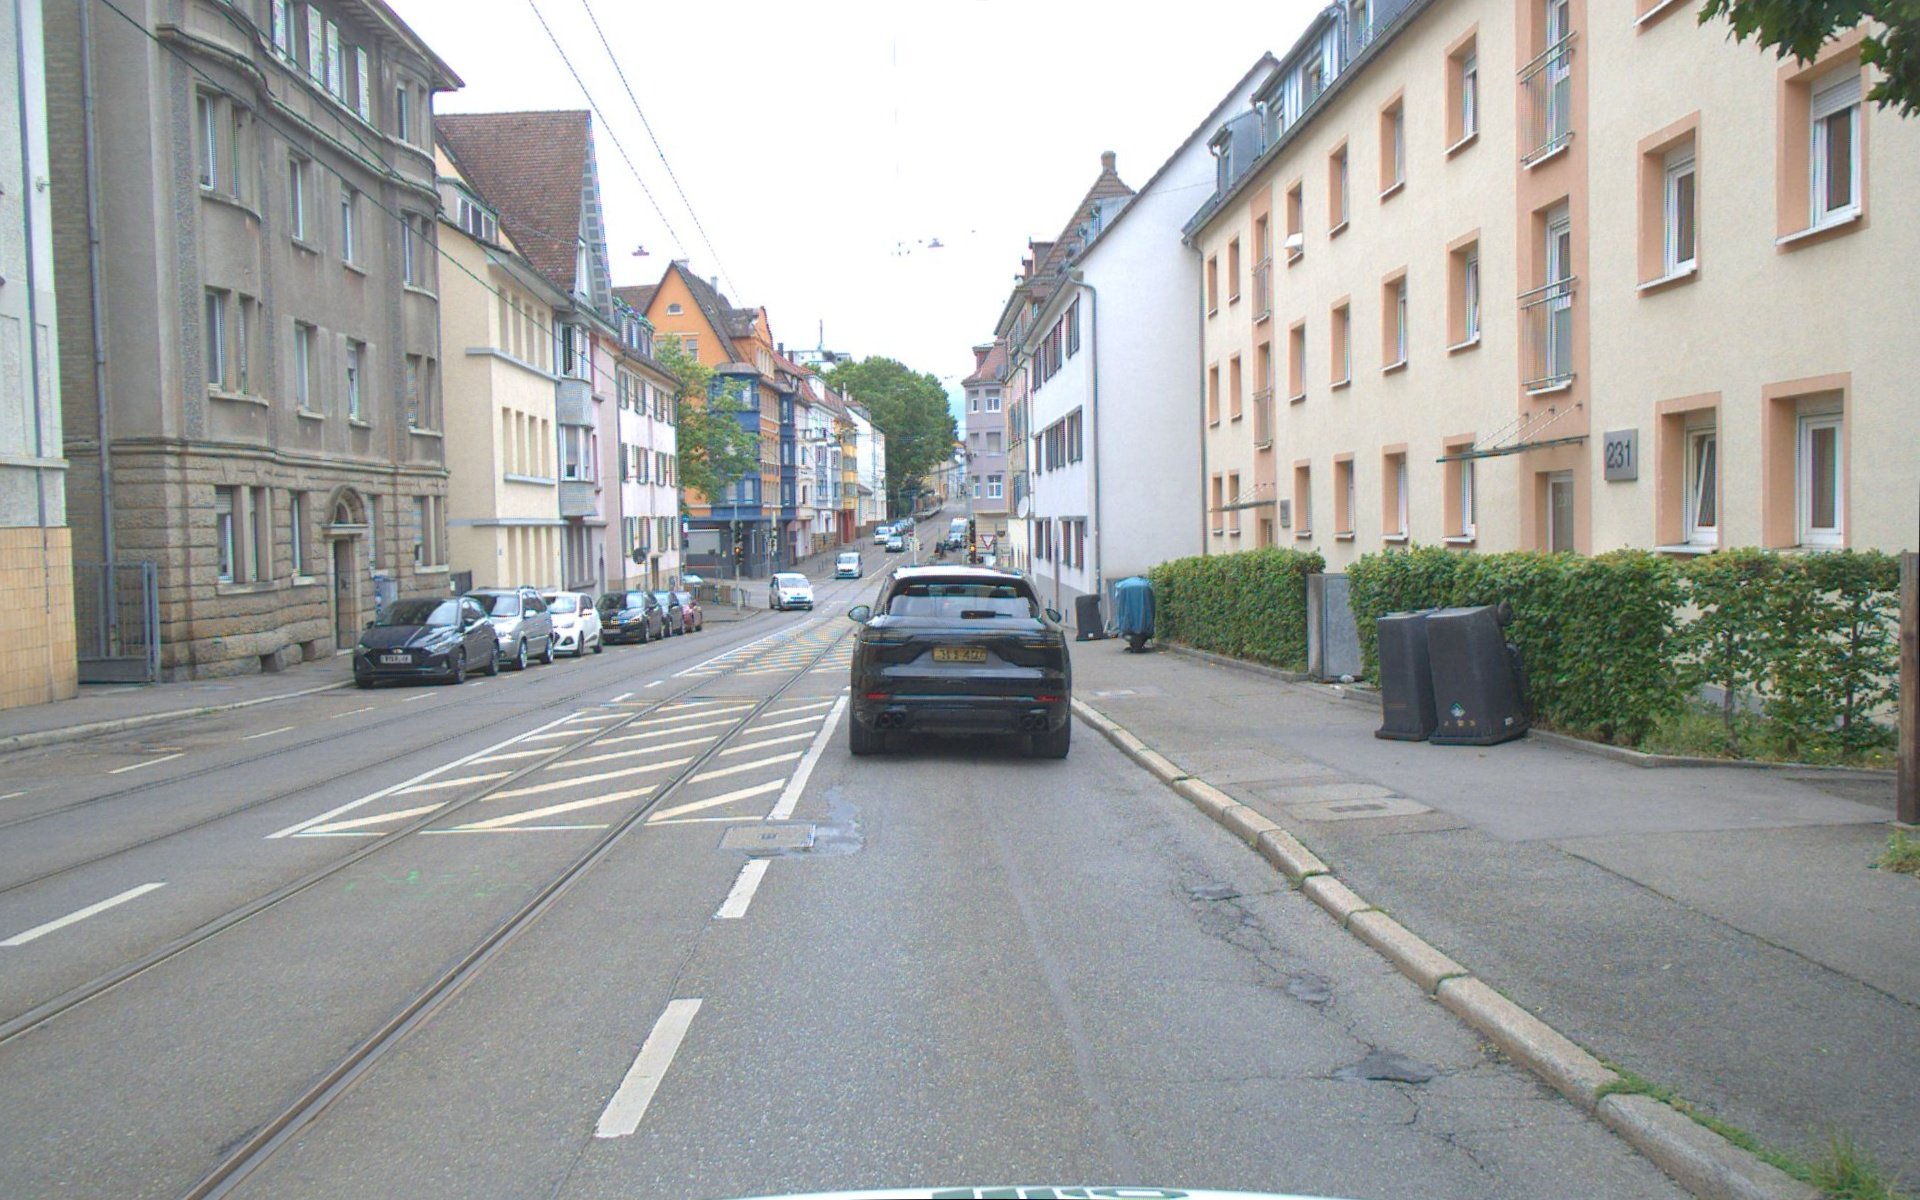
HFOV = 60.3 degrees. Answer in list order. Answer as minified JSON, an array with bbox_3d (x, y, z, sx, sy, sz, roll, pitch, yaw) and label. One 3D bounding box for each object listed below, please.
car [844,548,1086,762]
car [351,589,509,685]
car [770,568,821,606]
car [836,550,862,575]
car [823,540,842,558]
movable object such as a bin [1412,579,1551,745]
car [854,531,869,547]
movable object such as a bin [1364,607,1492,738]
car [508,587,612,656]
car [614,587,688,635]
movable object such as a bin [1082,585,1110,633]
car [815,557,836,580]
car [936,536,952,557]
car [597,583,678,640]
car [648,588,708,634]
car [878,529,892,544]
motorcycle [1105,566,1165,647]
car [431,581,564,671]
[{"bbox_3d":[-0.022,0.439,15.639,1.953,1.705,3.998,-2,0,-2],"label":"car"},{"bbox_3d":[-9.122,0.611,28.778,1.588,1.488,4.030,-2,0,-3],"label":"car"},{"bbox_3d":[-8.401,-0.648,84.091,1.889,1.850,4.201,-2,0,-15],"label":"car"},{"bbox_3d":[-8.299,-2.778,123.907,1.715,1.790,4.253,-2,0,-1],"label":"car"},{"bbox_3d":[-11.231,-4.464,145.816,1.366,1.476,3.358,-2,0,-1],"label":"car"},{"bbox_3d":[4.082,0.472,12.989,0.776,1.239,0.788,-2,0,-5],"label":"movable object such as a bin"},{"bbox_3d":[-9.918,-6.130,166.788,1.366,1.476,3.358,-2,0,-1],"label":"car"},{"bbox_3d":[3.888,0.585,13.782,0.776,1.029,0.788,-2,0,-5],"label":"movable object such as a bin"},{"bbox_3d":[-9.462,0.496,39.359,1.588,1.488,3.684,-2,0,-1],"label":"car"},{"bbox_3d":[-9.960,0.339,53.616,1.701,1.434,3.999,-2,0,-2],"label":"car"},{"bbox_3d":[3.193,0.204,38.742,0.576,1.099,0.692,-2,0,0],"label":"movable object such as a bin"},{"bbox_3d":[-10.794,-2.505,132.784,1.366,1.752,3.358,-2,0,-1],"label":"car"},{"bbox_3d":[-1.428,-4.695,146.279,1.366,1.752,3.358,-2,0,-1],"label":"car"},{"bbox_3d":[-9.224,0.328,47.611,1.588,1.499,4.553,-2,0,-3],"label":"car"},{"bbox_3d":[-10.086,0.381,59.333,1.588,1.516,4.045,-2,0,-3],"label":"car"},{"bbox_3d":[-8.278,-7.066,183.415,1.366,1.476,3.358,-2,0,-1],"label":"car"},{"bbox_3d":[3.356,0.116,31.869,0.821,1.482,2.552,-2,0,-1],"label":"motorcycle"},{"bbox_3d":[-9.249,0.510,33.378,1.588,1.632,4.348,-2,0,-3],"label":"car"}]
